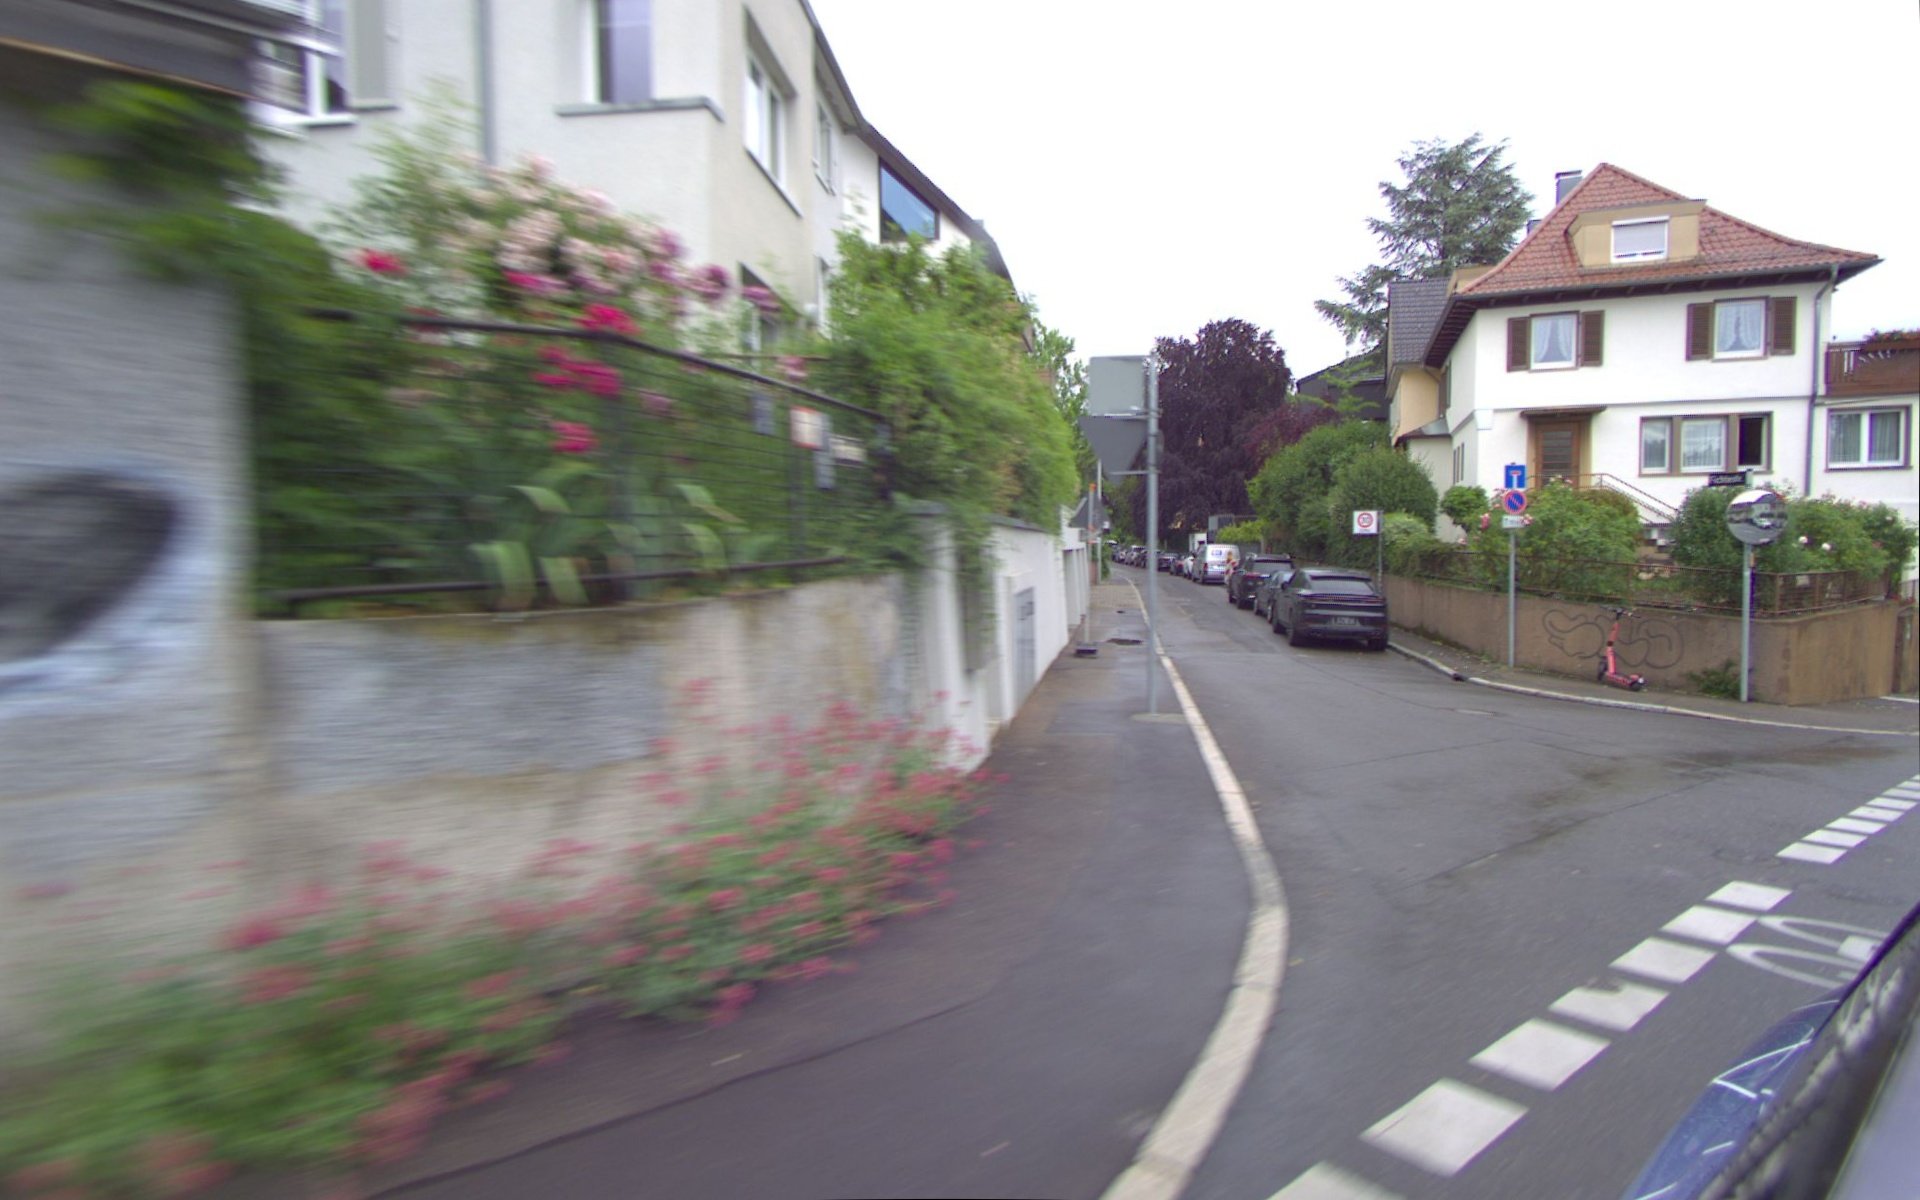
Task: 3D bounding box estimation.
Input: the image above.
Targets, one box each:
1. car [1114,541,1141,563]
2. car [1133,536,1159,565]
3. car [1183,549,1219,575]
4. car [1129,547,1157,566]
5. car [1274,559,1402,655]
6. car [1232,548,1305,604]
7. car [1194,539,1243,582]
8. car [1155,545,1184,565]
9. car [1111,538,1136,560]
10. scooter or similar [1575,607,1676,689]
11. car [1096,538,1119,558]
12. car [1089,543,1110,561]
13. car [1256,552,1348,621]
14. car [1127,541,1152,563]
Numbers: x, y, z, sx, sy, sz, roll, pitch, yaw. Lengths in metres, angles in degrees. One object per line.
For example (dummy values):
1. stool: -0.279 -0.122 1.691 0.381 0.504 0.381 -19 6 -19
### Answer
1. car: 15.002 -4.270 90.599 1.965 1.749 3.995 -4 0 5
2. car: 14.699 -3.836 79.745 1.694 2.039 3.983 -4 0 14
3. car: 13.118 -2.095 55.207 1.553 1.276 3.778 1 3 8
4. car: 13.461 -3.191 74.644 1.714 1.299 3.994 -4 1 7
5. car: 8.335 0.051 22.712 1.969 1.702 4.360 1 5 11
6. car: 10.079 -0.848 33.352 1.846 1.687 4.358 -1 3 12
7. car: 12.523 -1.987 49.206 1.845 1.862 4.362 2 5 9
8. car: 14.118 -3.054 68.438 1.680 1.276 3.779 0 4 8
9. car: 15.371 -4.782 95.335 1.965 1.749 3.995 -4 0 5
10. scooter or similar: 10.643 0.738 16.240 0.642 1.069 1.558 3 5 7
11. car: 14.874 -5.212 102.010 1.965 1.749 3.995 -4 0 5
12. car: 14.795 -5.083 107.349 1.713 1.695 3.732 -5 1 3
13. car: 9.409 -0.438 28.145 1.846 1.662 4.359 0 4 11
14. car: 15.086 -4.019 85.312 1.714 1.705 3.993 3 2 7
